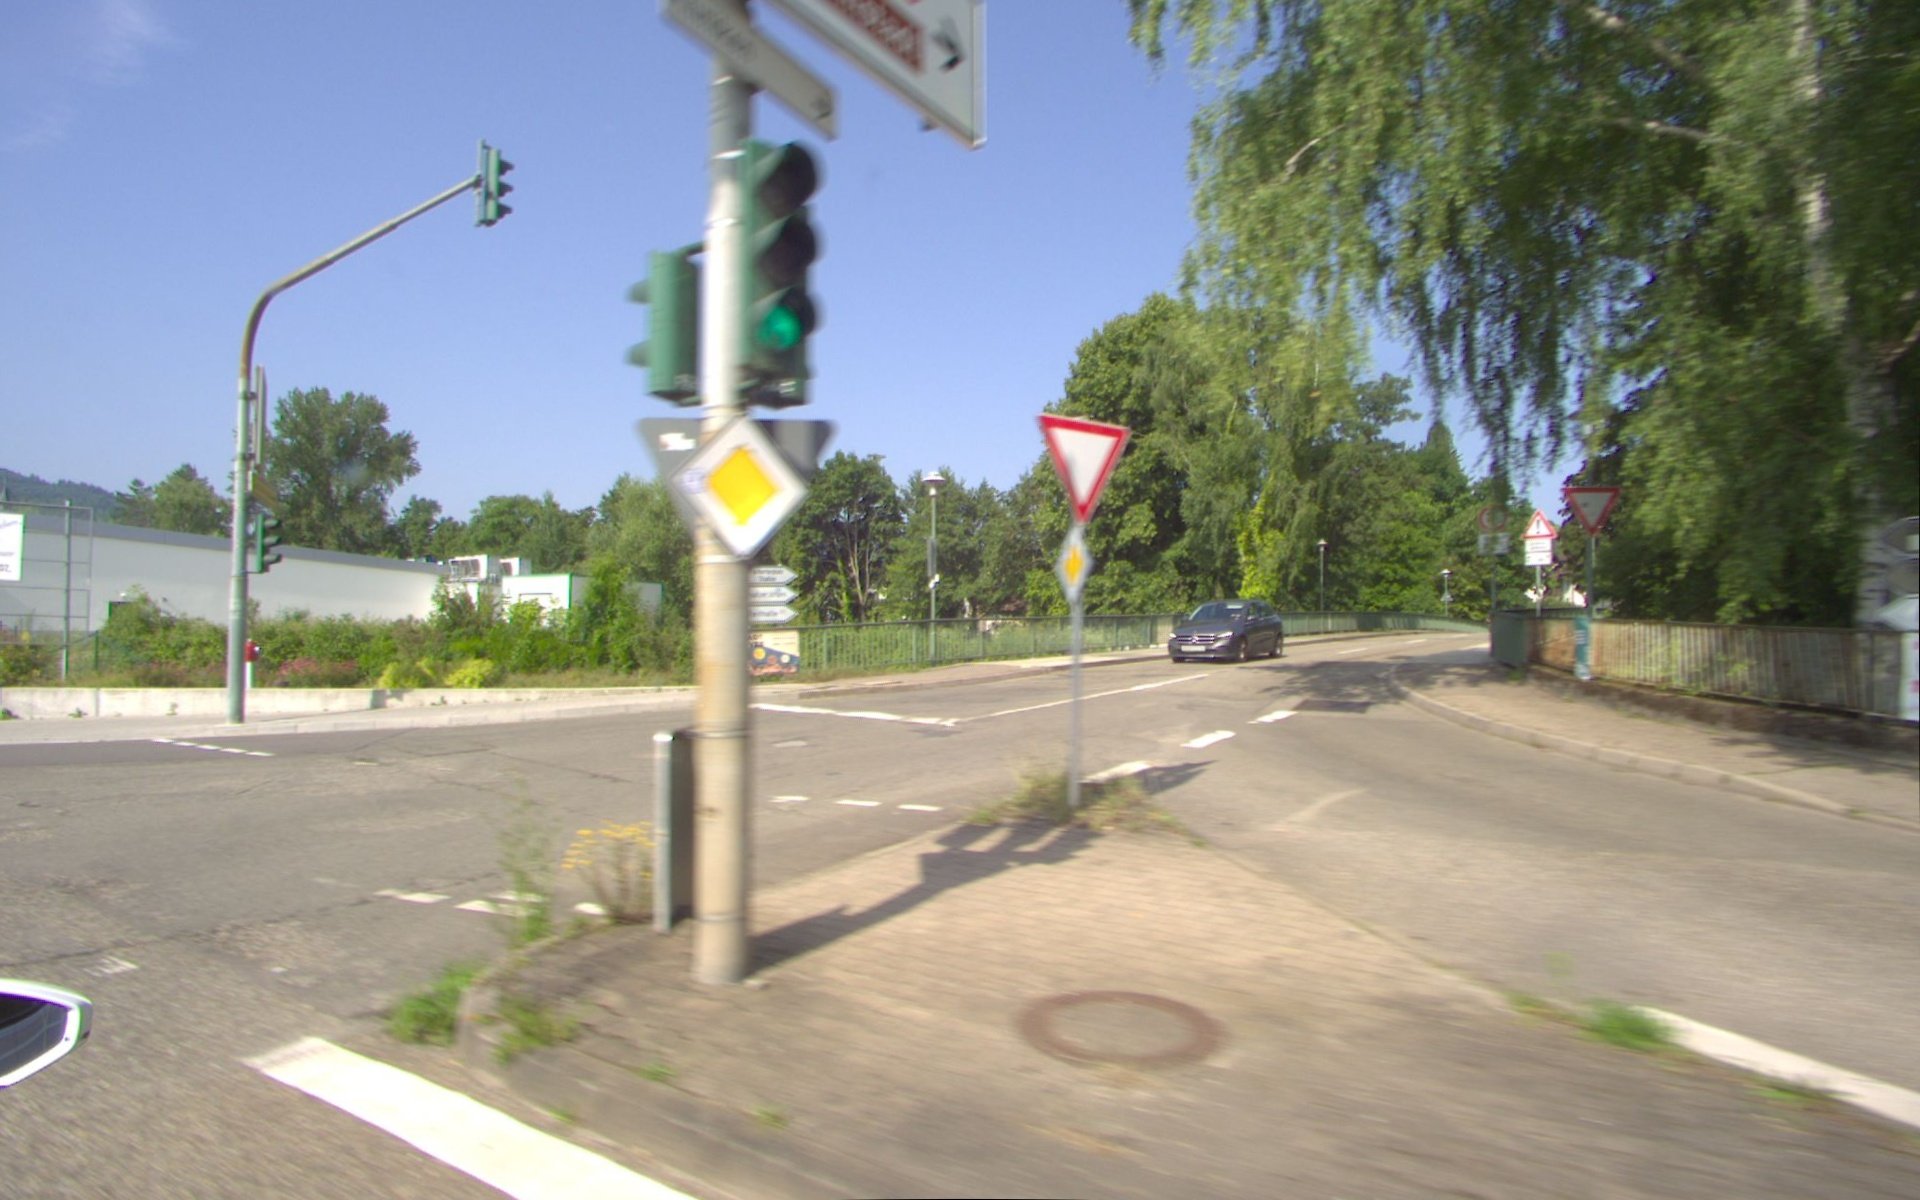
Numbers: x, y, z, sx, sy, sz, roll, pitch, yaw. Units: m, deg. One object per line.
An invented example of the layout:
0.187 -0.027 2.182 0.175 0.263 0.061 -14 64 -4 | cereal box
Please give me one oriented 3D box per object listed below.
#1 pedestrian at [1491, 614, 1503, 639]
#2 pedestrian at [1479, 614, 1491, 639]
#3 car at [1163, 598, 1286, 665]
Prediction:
41.314 2.061 77.047 0.727 1.927 0.626 -1 -1 31 | pedestrian
40.617 2.075 77.487 0.727 1.911 0.626 -1 -1 31 | pedestrian
6.715 0.797 25.135 1.646 1.537 4.059 -1 -2 36 | car
